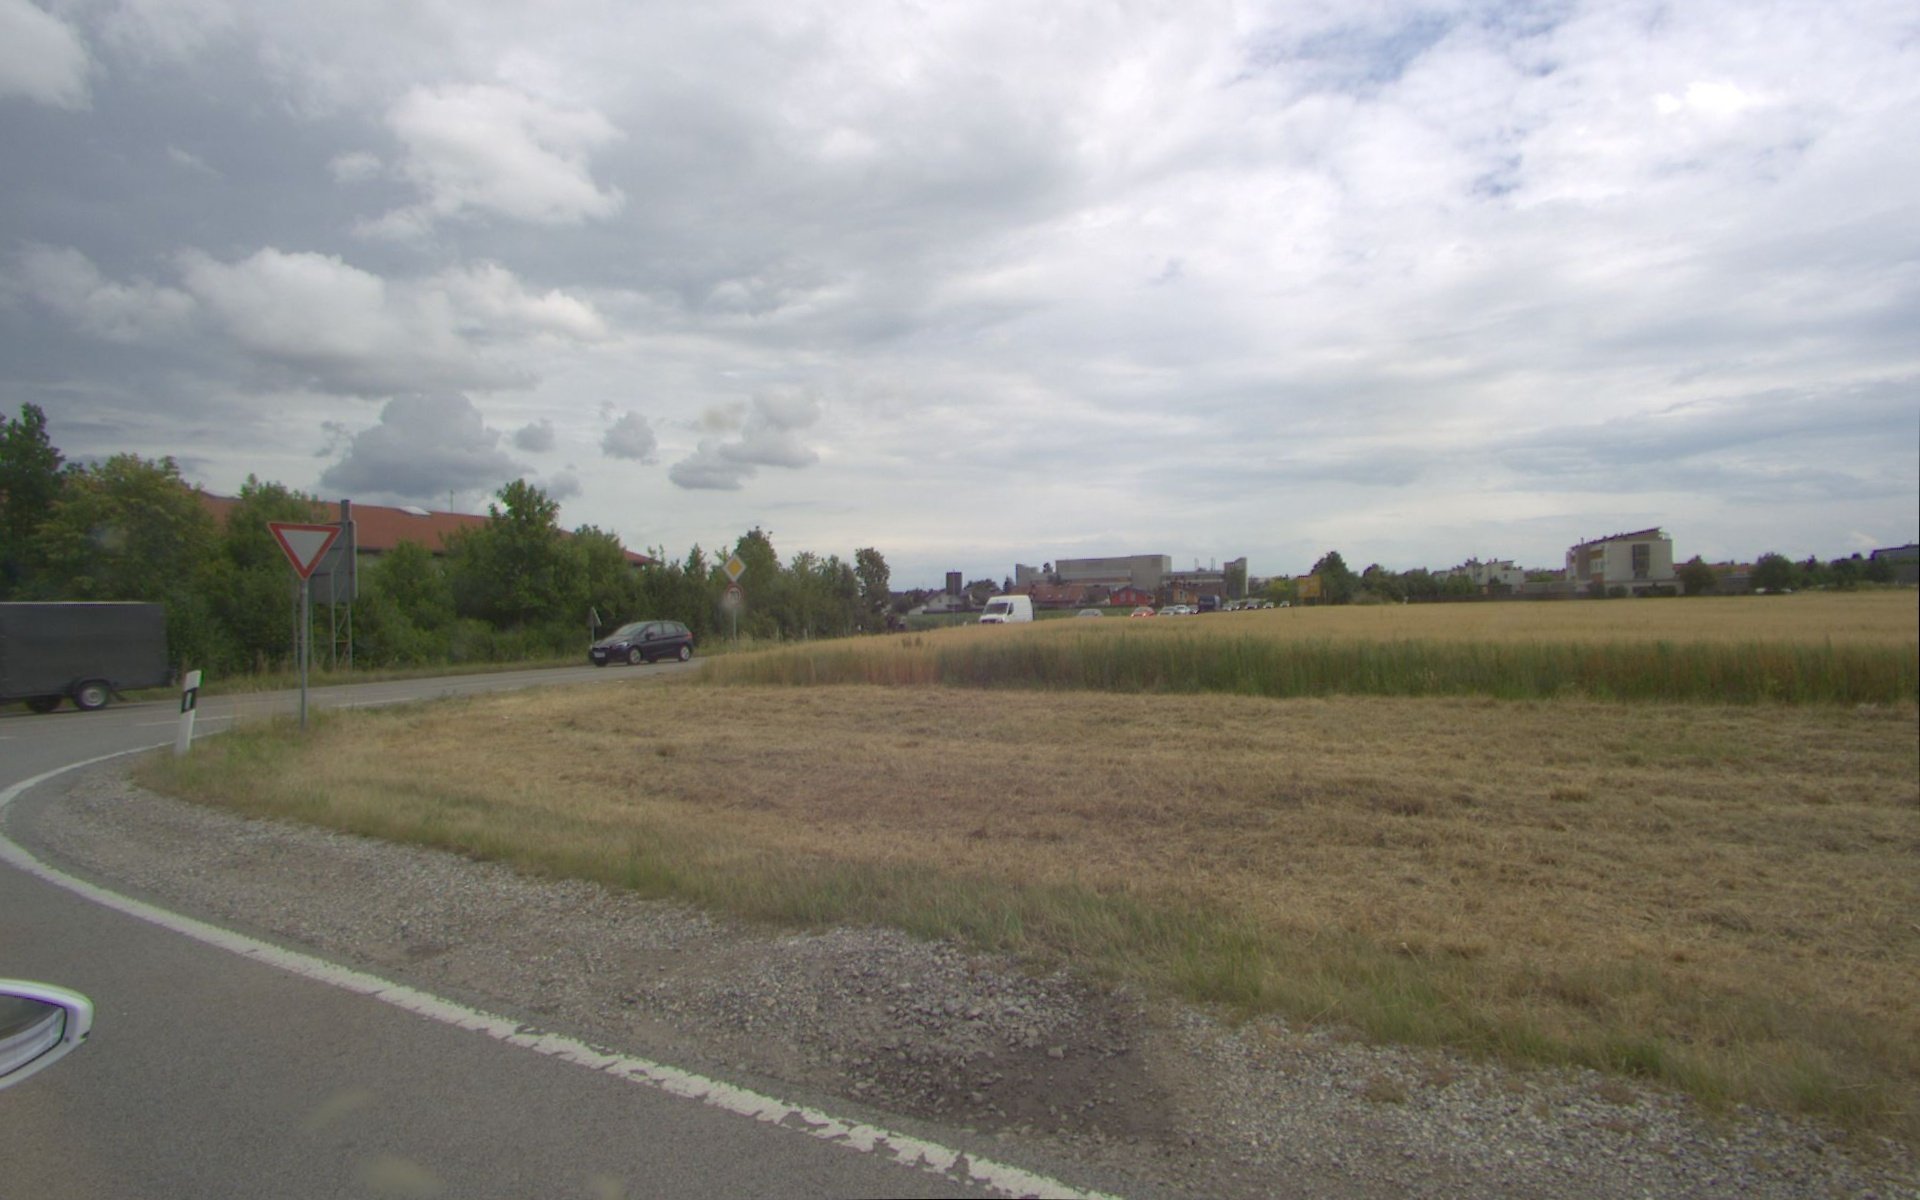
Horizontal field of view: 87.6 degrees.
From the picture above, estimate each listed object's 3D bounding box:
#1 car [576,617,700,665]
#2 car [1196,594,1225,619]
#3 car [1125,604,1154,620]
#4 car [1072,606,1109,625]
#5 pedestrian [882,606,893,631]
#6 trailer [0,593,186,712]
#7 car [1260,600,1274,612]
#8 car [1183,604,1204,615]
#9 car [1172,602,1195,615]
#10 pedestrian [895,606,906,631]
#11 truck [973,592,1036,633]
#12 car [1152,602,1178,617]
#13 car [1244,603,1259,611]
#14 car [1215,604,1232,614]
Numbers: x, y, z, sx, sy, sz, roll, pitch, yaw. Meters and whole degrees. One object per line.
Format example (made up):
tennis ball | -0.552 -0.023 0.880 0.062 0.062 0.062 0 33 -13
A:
car | -11.787 1.481 36.904 1.967 1.506 4.287 -2 0 24
car | 28.057 0.715 111.921 2.115 2.675 5.549 0 1 26
car | 17.939 1.160 99.894 1.826 1.486 3.986 -1 0 25
car | 11.031 1.301 84.439 1.967 1.483 4.148 -2 0 24
pedestrian | -4.981 1.253 69.164 0.521 1.705 0.626 0 1 21
trailer | -19.369 1.063 20.942 2.377 2.322 4.383 -2 0 23
car | 56.121 1.065 183.122 1.967 2.041 3.986 0 1 24
car | 28.471 1.149 122.062 1.826 1.287 3.518 -1 0 24
car | 25.933 0.988 116.204 1.826 1.486 3.987 -1 0 24
pedestrian | -4.089 1.245 68.804 0.521 1.705 0.626 0 1 21
truck | 3.124 0.861 68.792 1.969 2.609 5.994 -2 -1 26
car | 22.048 1.033 107.740 1.826 1.486 3.986 -1 0 25
car | 47.467 1.179 163.158 1.826 1.287 3.518 -1 0 24
car | 37.572 1.318 142.740 1.826 1.287 3.518 -1 0 24
